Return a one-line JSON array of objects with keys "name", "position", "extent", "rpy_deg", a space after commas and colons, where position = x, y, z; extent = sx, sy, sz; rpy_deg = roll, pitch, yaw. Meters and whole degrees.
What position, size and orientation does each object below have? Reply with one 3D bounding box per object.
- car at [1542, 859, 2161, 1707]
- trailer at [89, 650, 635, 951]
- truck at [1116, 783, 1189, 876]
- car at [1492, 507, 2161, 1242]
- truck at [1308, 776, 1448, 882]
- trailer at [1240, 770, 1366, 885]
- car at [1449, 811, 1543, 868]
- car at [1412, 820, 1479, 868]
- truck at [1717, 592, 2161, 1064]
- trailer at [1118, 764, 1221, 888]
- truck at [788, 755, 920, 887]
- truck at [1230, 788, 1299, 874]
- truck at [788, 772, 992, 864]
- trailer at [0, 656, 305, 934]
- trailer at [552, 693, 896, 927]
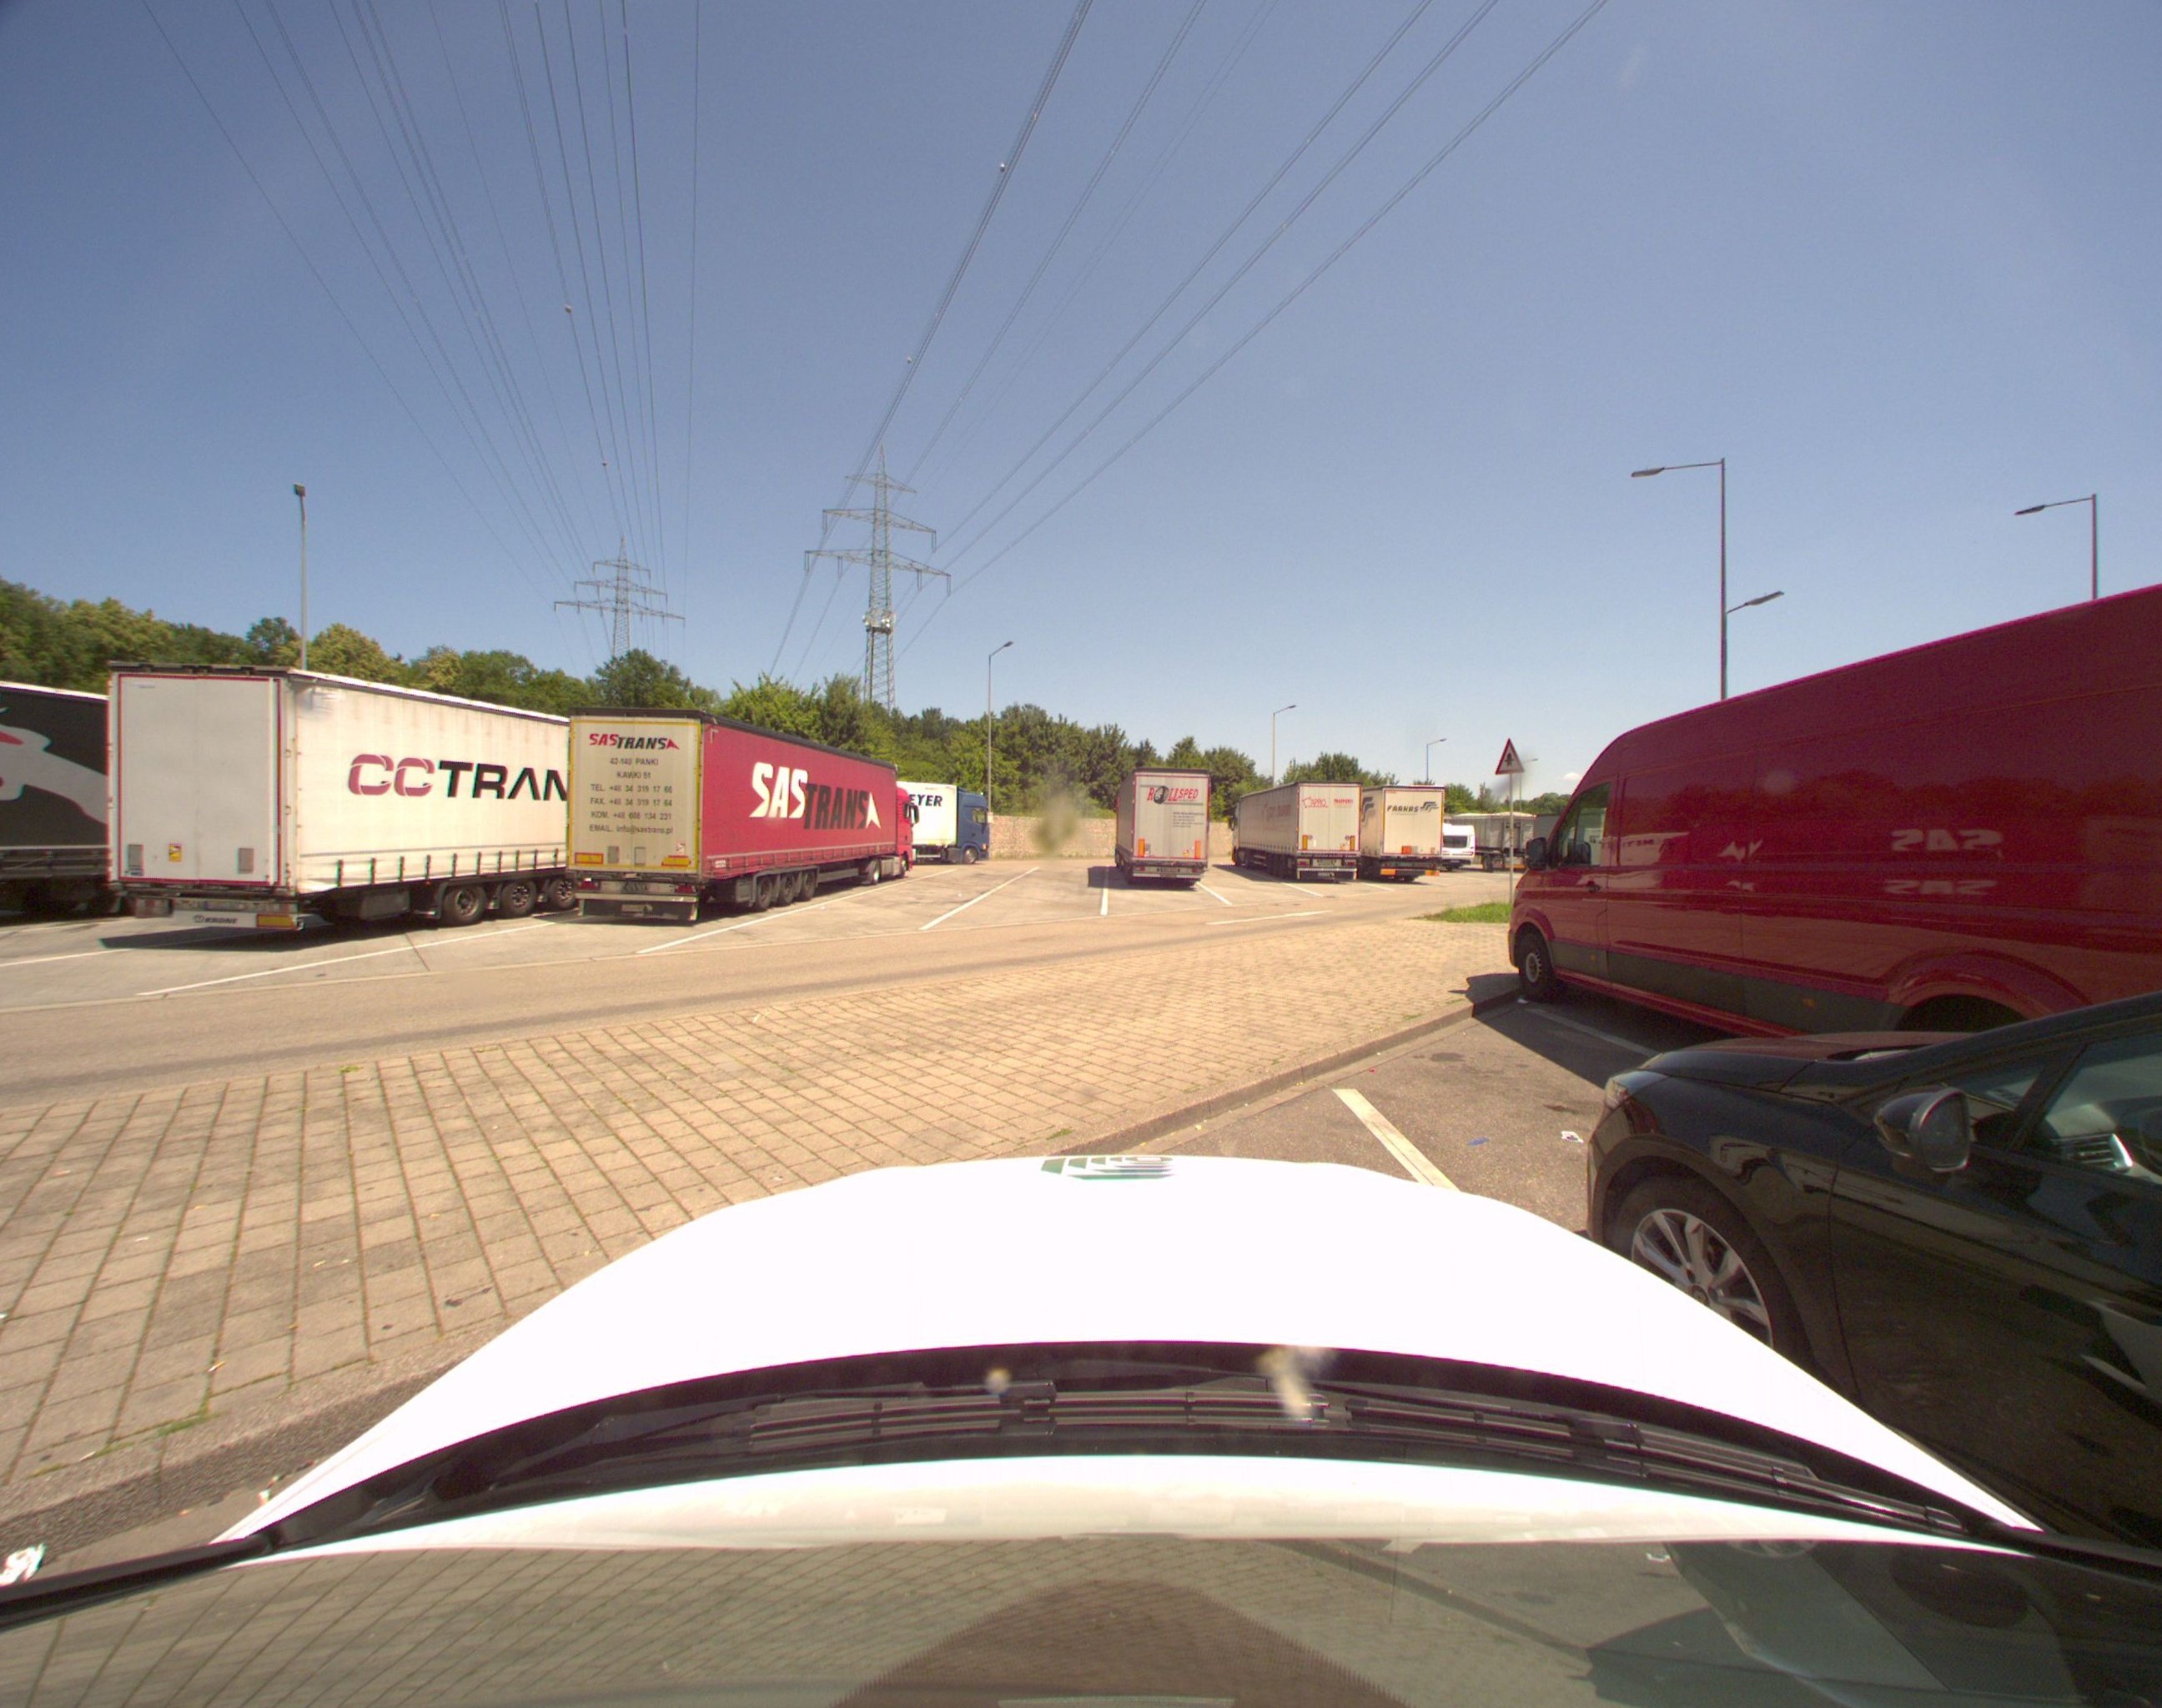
[{"name": "car", "position": [2.537, 0.738, 0.955], "extent": [1.772, 1.457, 3.681], "rpy_deg": [0, -1, -3]}, {"name": "trailer", "position": [-12.212, -0.803, 15.413], "extent": [2.744, 4.152, 8.291], "rpy_deg": [0, 1, 2]}, {"name": "truck", "position": [3.180, -1.082, 37.820], "extent": [2.862, 3.980, 6.029], "rpy_deg": [0, 1, 0]}, {"name": "car", "position": [5.122, 0.028, 5.513], "extent": [1.984, 2.633, 6.393], "rpy_deg": [-1, 1, 5]}, {"name": "truck", "position": [13.527, -0.939, 38.490], "extent": [2.577, 4.226, 11.974], "rpy_deg": [0, -1, 2]}, {"name": "trailer", "position": [9.900, -1.111, 38.173], "extent": [2.672, 4.452, 12.833], "rpy_deg": [-1, 1, 1]}, {"name": "car", "position": [24.133, -0.822, 47.728], "extent": [2.490, 3.074, 6.353], "rpy_deg": [-1, 1, 2]}, {"name": "car", "position": [20.535, -0.517, 46.107], "extent": [2.107, 2.599, 4.001], "rpy_deg": [0, -1, 2]}, {"name": "truck", "position": [7.804, -0.154, 6.079], "extent": [2.508, 2.827, 4.821], "rpy_deg": [0, -1, 3]}, {"name": "trailer", "position": [3.142, -1.000, 32.194], "extent": [2.887, 4.013, 11.317], "rpy_deg": [-1, 1, 0]}, {"name": "truck", "position": [-7.755, -1.092, 28.691], "extent": [2.795, 4.133, 5.896], "rpy_deg": [-1, 1, 2]}, {"name": "truck", "position": [10.077, -1.229, 45.258], "extent": [2.651, 4.452, 5.866], "rpy_deg": [-1, 1, 2]}, {"name": "truck", "position": [-9.057, -1.572, 40.097], "extent": [10.112, 4.033, 2.214], "rpy_deg": [0, 0, -44]}, {"name": "trailer", "position": [-18.564, -0.963, 14.873], "extent": [2.668, 4.444, 6.151], "rpy_deg": [-1, 1, 2]}, {"name": "trailer", "position": [-8.005, -0.890, 21.435], "extent": [2.789, 4.219, 13.208], "rpy_deg": [-1, 1, 2]}]
